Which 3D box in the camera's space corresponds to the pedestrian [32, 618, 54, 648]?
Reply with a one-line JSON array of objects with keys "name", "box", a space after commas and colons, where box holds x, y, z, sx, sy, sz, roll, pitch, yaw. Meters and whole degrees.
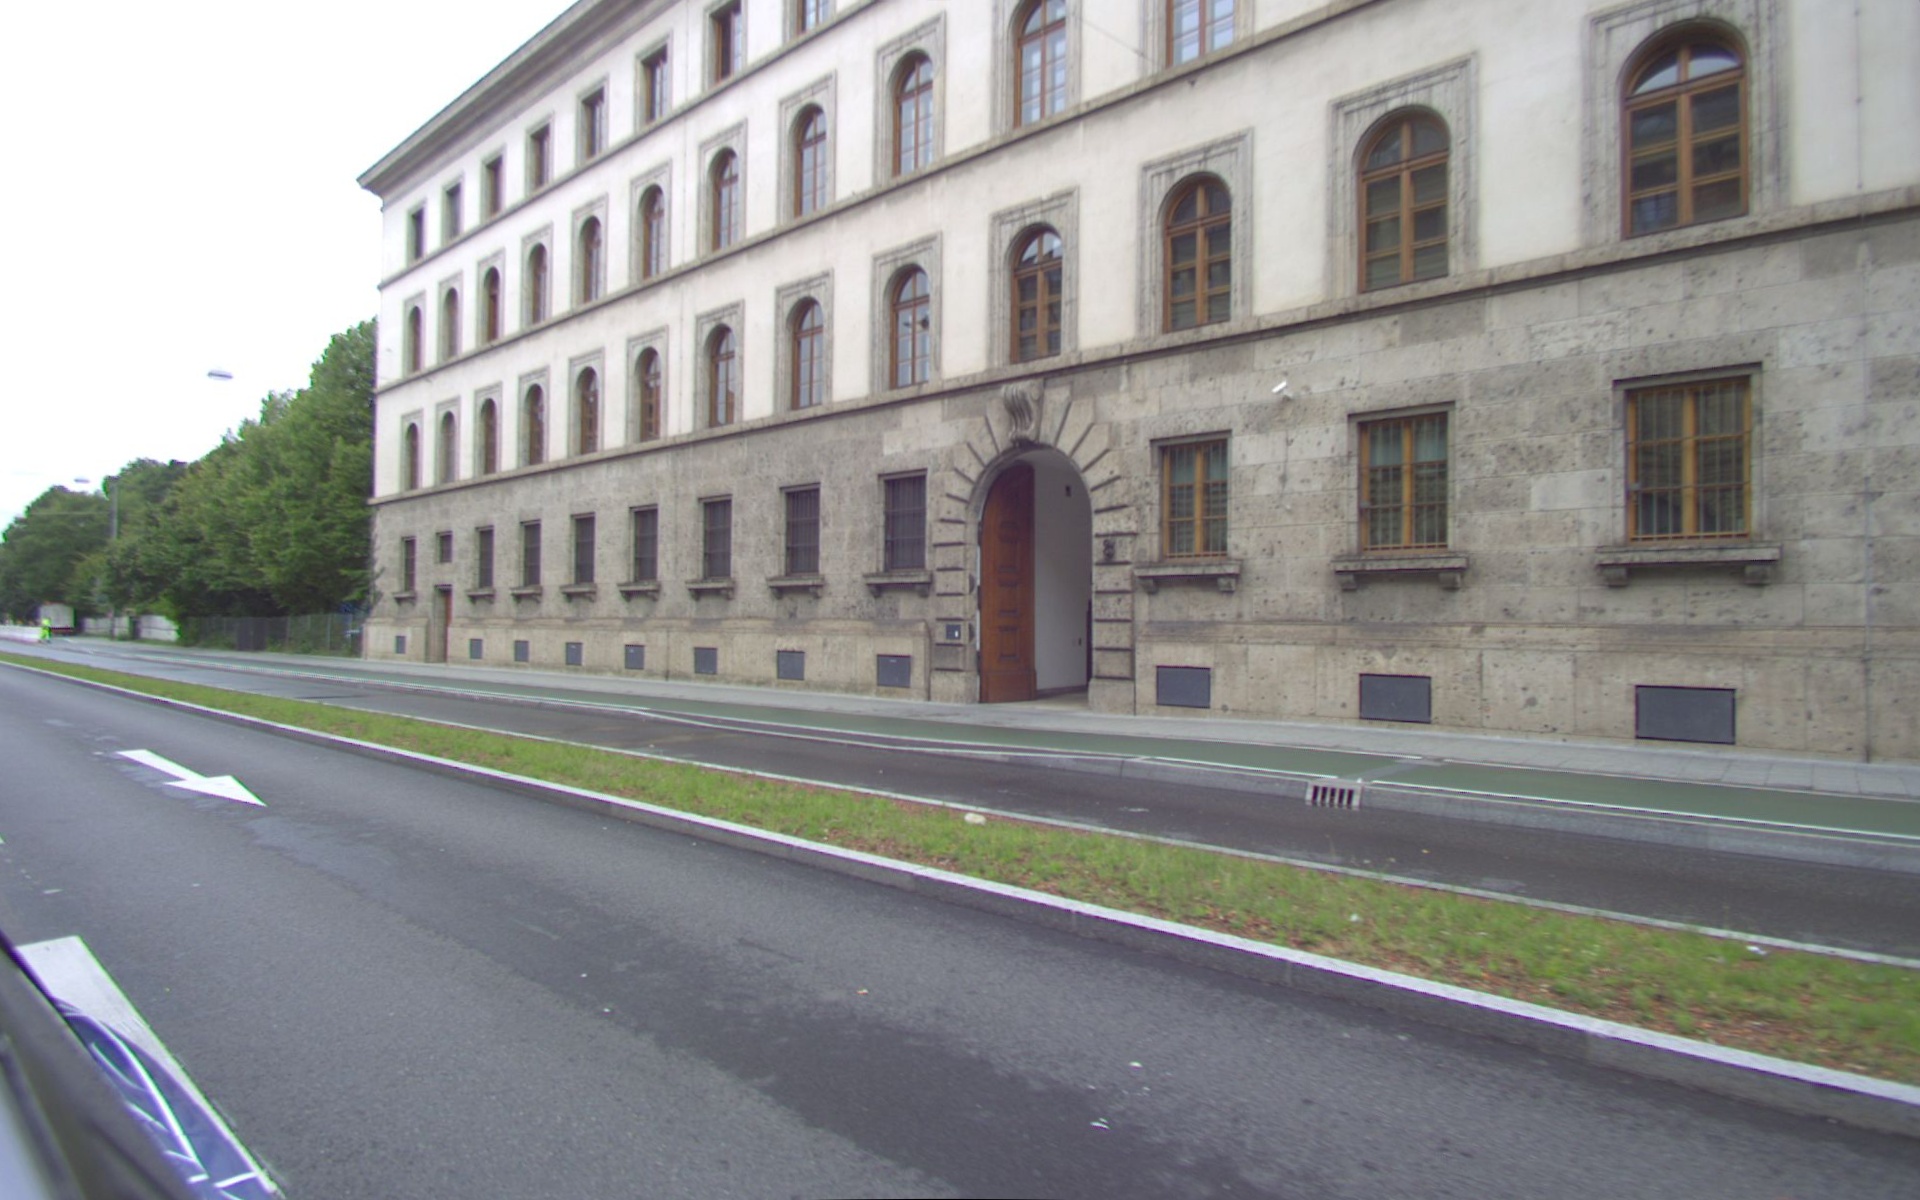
[{"name": "pedestrian", "box": [-62.919, 2.255, 69.462, 0.753, 2.029, 0.861, -1, -1, 21]}]
